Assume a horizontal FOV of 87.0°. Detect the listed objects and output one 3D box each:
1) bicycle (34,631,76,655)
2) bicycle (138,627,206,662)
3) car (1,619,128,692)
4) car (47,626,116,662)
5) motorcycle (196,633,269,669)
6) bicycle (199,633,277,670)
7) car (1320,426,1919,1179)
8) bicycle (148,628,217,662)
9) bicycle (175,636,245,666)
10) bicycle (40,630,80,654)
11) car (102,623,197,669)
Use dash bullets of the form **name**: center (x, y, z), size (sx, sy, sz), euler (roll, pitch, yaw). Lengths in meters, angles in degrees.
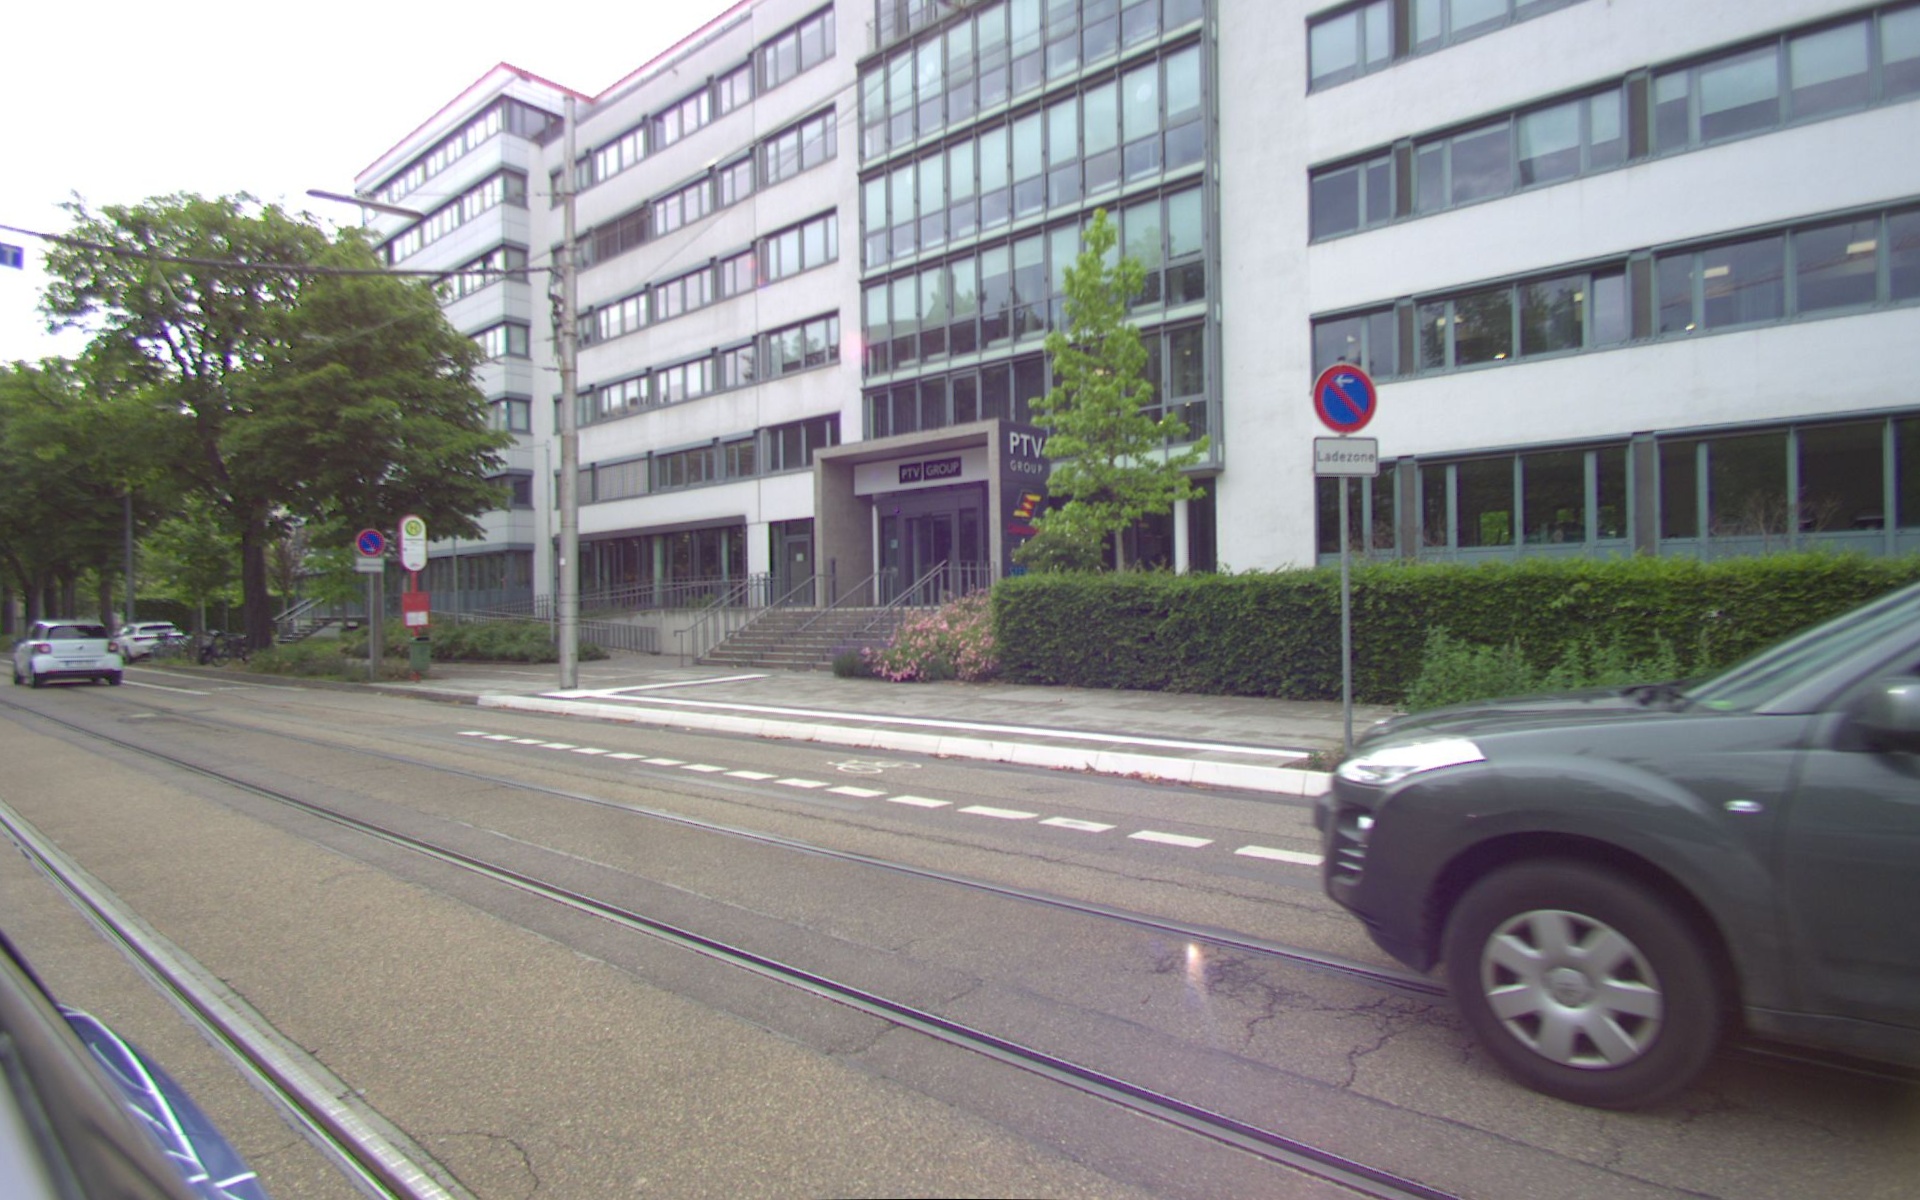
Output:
- **bicycle**: center (-45.435, 2.156, 50.823), size (0.614, 1.100, 1.460), euler (-1, 1, 28)
- **bicycle**: center (-27.943, 1.559, 35.894), size (0.632, 1.195, 1.843), euler (-1, -2, 45)
- **car**: center (-21.360, 1.260, 24.100), size (3.738, 1.541, 1.687), euler (-1, 0, 40)
- **car**: center (-40.568, 2.000, 46.714), size (3.751, 1.458, 1.613), euler (-1, 3, 37)
- **motorcycle**: center (-23.650, 1.636, 32.924), size (0.731, 1.058, 1.773), euler (-1, 0, 33)
- **bicycle**: center (-22.282, 1.570, 31.245), size (0.739, 1.061, 1.814), euler (-2, -1, 32)
- **car**: center (3.392, 0.460, 2.547), size (4.332, 1.750, 1.809), euler (-1, 0, 41)
- **bicycle**: center (-27.014, 1.553, 35.195), size (0.631, 1.108, 1.791), euler (0, -1, 34)
- **bicycle**: center (-25.042, 1.688, 33.821), size (0.631, 0.906, 1.791), euler (0, -1, 34)
- **bicycle**: center (-45.983, 2.150, 51.729), size (0.617, 1.149, 1.455), euler (-1, 0, 39)
- **car**: center (-30.129, 1.660, 37.570), size (4.750, 1.504, 1.862), euler (-2, 1, 41)
